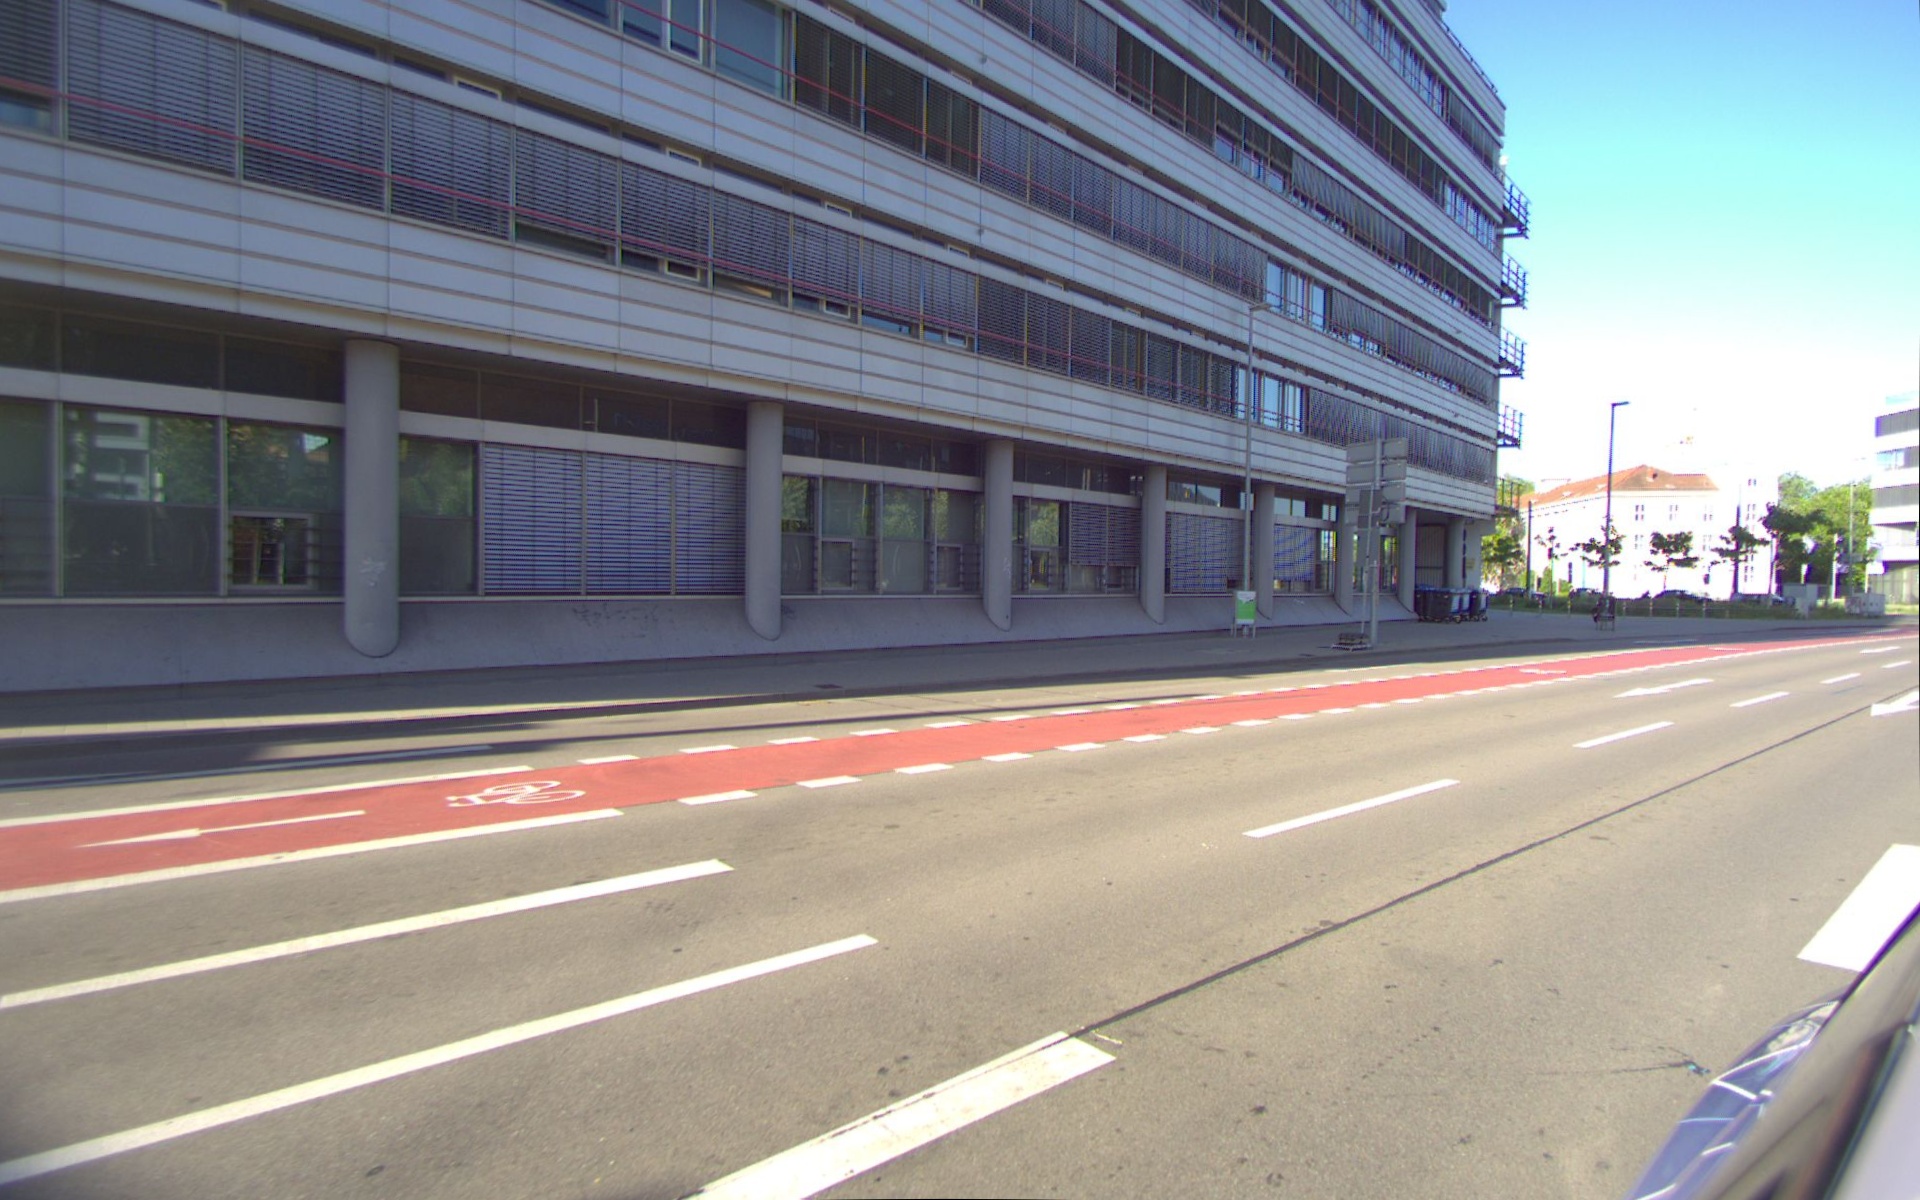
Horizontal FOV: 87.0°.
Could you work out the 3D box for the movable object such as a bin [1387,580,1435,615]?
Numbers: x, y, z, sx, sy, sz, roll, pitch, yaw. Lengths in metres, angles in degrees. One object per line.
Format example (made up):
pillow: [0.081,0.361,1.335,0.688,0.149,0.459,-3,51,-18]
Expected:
movable object such as a bin: [17.616,-0.098,39.514,1.153,1.317,1.327,0,2,-40]

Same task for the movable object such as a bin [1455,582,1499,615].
movable object such as a bin: [21.398,-0.073,41.877,1.305,1.317,1.173,0,2,-40]

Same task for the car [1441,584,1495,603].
car: [43.285,-0.549,86.266,1.705,1.551,3.807,0,2,-28]

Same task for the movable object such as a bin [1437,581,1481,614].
movable object such as a bin: [20.286,-0.123,41.148,1.305,1.317,1.173,0,2,-40]

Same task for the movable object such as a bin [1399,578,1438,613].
movable object such as a bin: [18.667,-0.194,41.207,1.088,1.391,1.109,0,2,-40]

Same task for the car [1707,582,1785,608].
car: [49.092,-0.332,63.314,1.706,1.551,3.805,1,2,-4]

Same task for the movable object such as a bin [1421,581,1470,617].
movable object such as a bin: [18.430,-0.067,38.417,1.153,1.317,1.327,0,2,-40]
